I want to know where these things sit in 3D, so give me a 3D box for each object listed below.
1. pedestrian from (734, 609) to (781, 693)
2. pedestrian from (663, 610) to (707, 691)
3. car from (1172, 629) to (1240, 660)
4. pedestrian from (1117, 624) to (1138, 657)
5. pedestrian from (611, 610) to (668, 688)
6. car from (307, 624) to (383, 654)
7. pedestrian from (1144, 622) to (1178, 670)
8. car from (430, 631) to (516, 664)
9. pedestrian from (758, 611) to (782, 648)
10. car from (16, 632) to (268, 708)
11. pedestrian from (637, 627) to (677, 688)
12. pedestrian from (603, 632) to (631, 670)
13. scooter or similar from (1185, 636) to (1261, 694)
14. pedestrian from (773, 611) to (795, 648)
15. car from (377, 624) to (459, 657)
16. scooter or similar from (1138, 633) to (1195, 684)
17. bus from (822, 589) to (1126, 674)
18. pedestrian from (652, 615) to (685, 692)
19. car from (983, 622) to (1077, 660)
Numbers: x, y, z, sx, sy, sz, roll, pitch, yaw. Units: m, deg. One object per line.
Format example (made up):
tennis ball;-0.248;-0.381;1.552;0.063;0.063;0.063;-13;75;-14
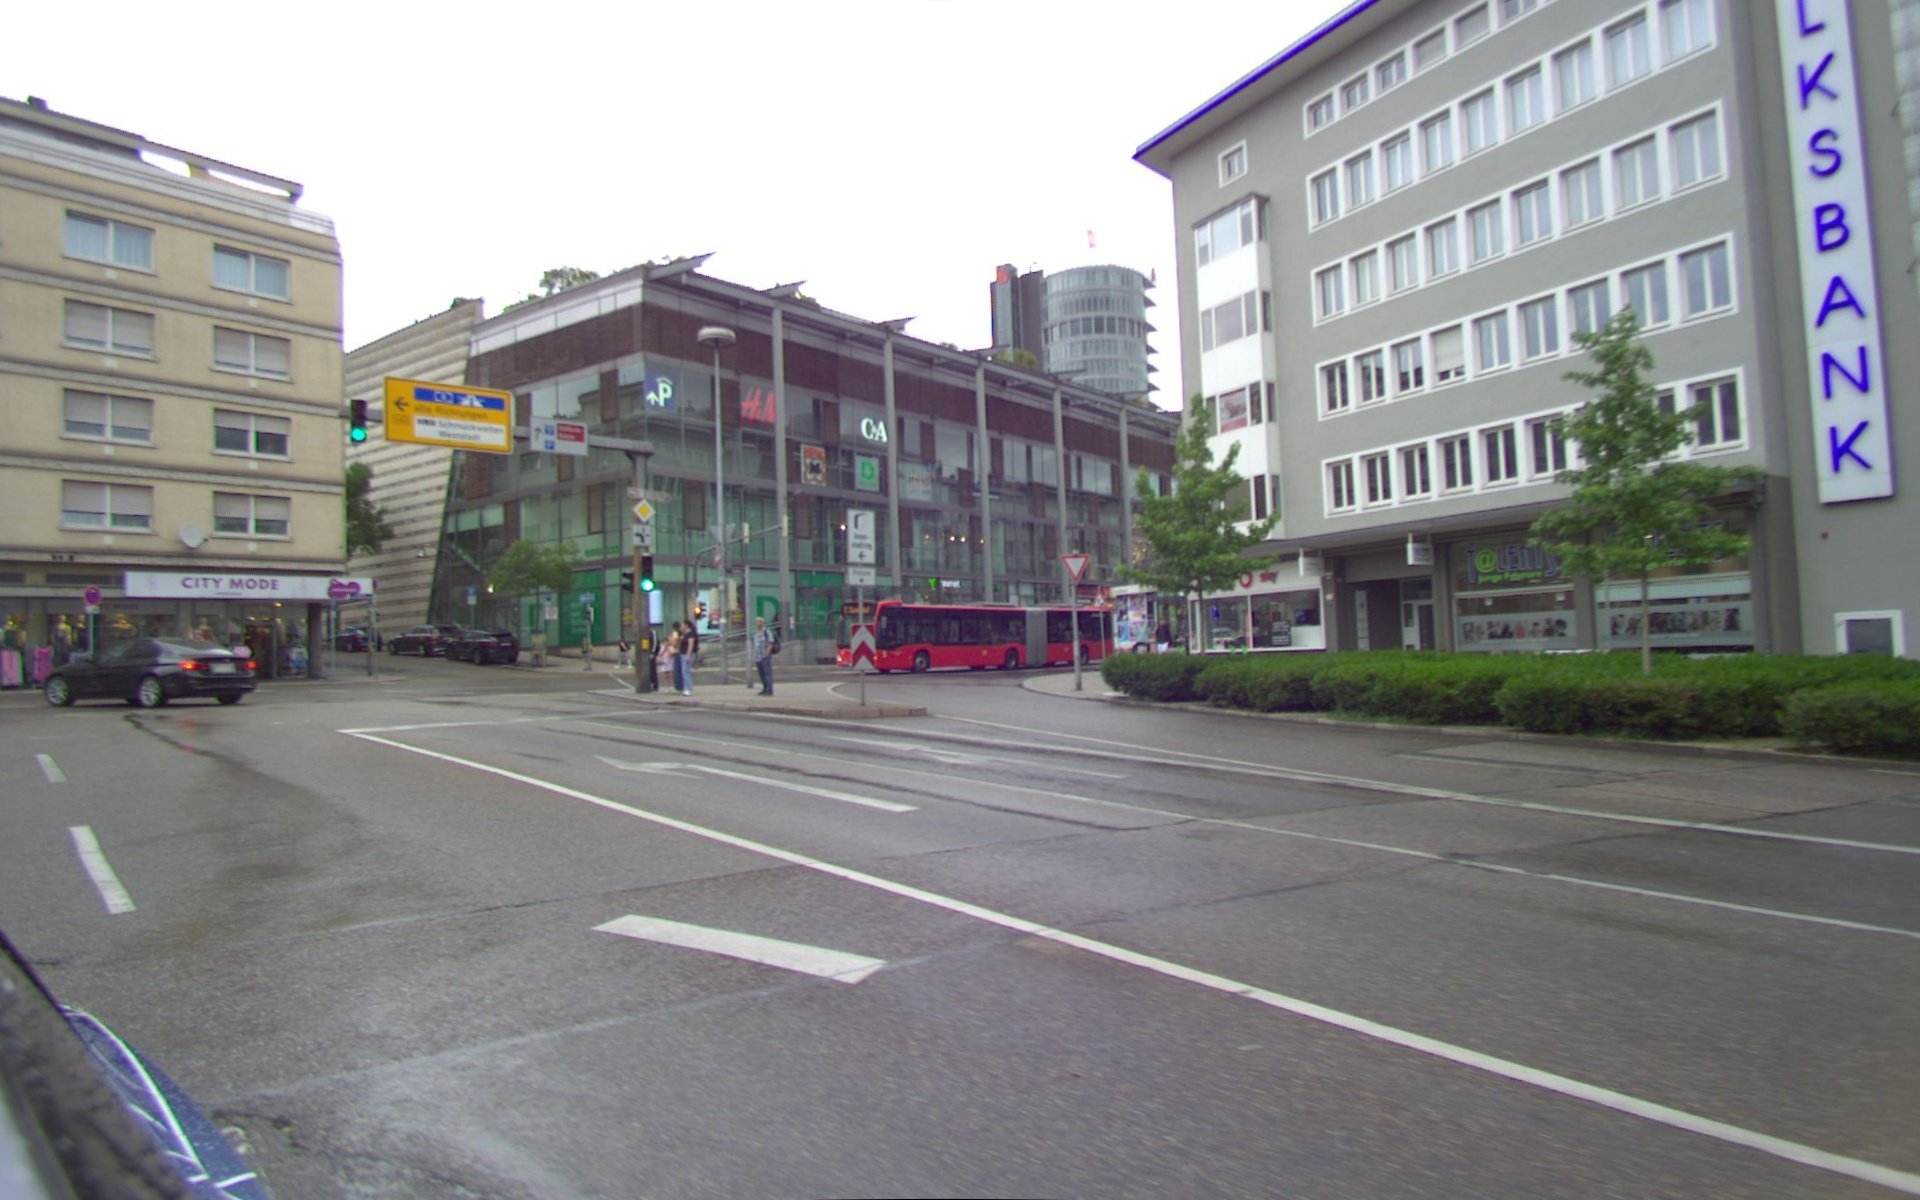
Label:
pedestrian;-4.409;1.102;22.057;0.830;1.792;0.610;-2;-3;36
pedestrian;-5.967;1.089;21.944;0.629;1.702;0.785;2;-3;-40
car;12.733;2.265;52.298;1.742;1.539;3.944;-2;-3;42
pedestrian;9.156;2.216;55.291;0.618;1.816;0.906;3;-3;-43
pedestrian;-7.605;1.146;24.032;1.011;1.801;0.843;-1;-3;35
car;-34.664;2.191;57.033;4.366;1.558;1.878;-1;0;32
pedestrian;7.637;1.740;38.435;1.023;1.789;0.790;-1;-3;36
car;-24.041;2.309;49.912;4.282;1.558;1.786;-1;-2;32
pedestrian;-10.384;1.615;55.373;0.883;1.996;0.961;-3;-4;41
car;-17.359;1.497;21.517;4.595;1.436;1.988;-3;-4;18
pedestrian;-6.831;1.286;22.818;0.630;1.350;0.581;-2;-3;35
pedestrian;-16.404;2.456;48.408;1.036;1.775;0.694;-1;-3;6
scooter or similar;6.525;1.602;25.183;0.915;1.265;1.506;-8;1;-29
pedestrian;-9.745;1.645;56.075;0.877;1.996;0.838;-3;-4;41
car;-28.513;2.099;53.234;4.366;1.558;1.878;-1;0;32
scooter or similar;5.011;1.434;24.625;0.534;1.196;1.388;1;-4;-29
bus;1.513;1.550;47.578;2.929;3.346;18.216;-3;-4;42
pedestrian;-6.448;1.179;22.403;0.494;1.681;0.571;2;-4;-42
car;4.065;2.332;57.963;2.450;2.091;5.829;-2;-3;40
